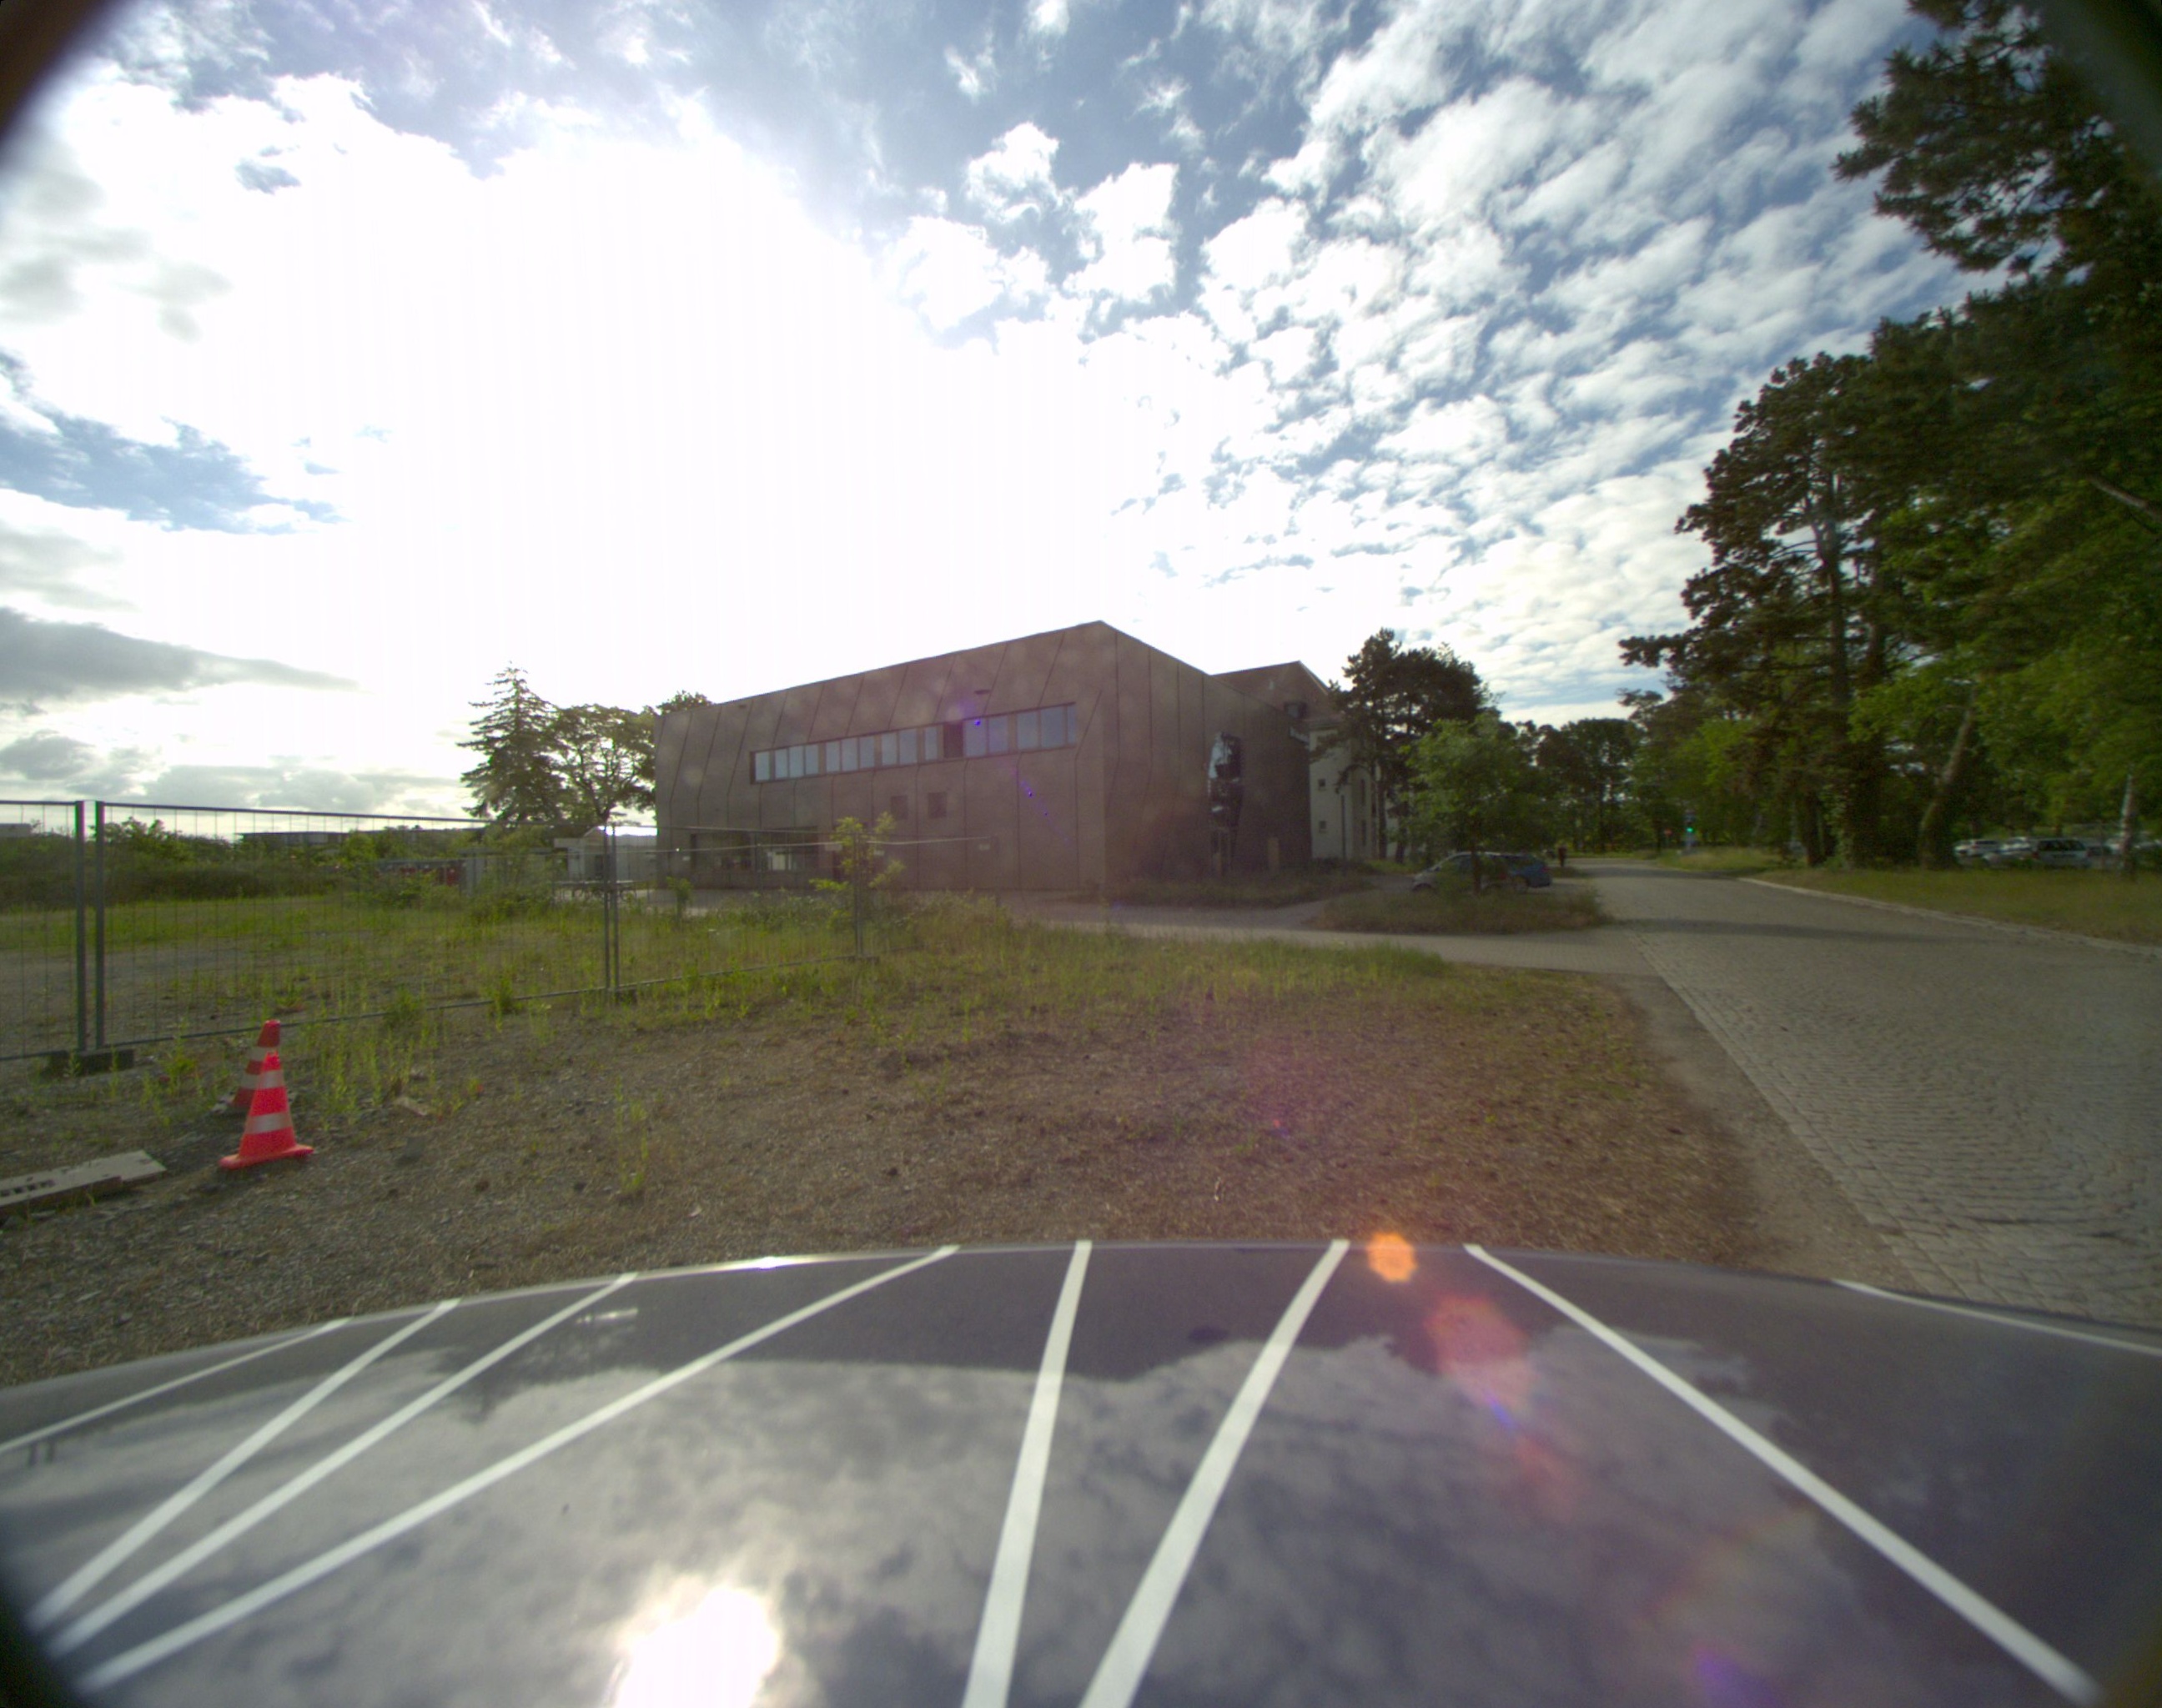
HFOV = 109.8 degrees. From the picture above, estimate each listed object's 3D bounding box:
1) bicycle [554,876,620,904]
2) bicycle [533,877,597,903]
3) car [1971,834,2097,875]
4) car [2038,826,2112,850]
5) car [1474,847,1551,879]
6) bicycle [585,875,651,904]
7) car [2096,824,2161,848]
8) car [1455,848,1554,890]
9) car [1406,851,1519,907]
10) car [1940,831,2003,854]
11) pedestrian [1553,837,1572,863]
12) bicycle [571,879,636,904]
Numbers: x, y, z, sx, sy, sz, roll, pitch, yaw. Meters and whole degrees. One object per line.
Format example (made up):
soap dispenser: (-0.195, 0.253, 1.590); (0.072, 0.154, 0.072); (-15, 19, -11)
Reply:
bicycle: (-20.724, 1.483, 31.932); (0.943, 1.038, 2.073); (-1, 0, 30)
bicycle: (-22.475, 1.559, 33.148); (0.943, 1.038, 2.073); (-1, 0, 30)
car: (38.511, 0.022, 30.847); (1.887, 1.532, 4.007); (-1, 0, 31)
car: (71.641, -1.164, 54.852); (1.995, 1.608, 4.008); (-2, 0, 33)
car: (20.529, 0.450, 36.269); (3.086, 1.441, 1.494); (-1, 0, 26)
bicycle: (-18.756, 1.425, 30.829); (0.943, 1.080, 2.073); (-1, 0, 30)
car: (74.278, -1.244, 53.530); (1.995, 1.608, 4.008); (-2, 0, 33)
car: (15.682, 0.520, 28.251); (3.085, 1.449, 1.494); (1, 1, 28)
car: (11.220, 0.721, 22.394); (2.761, 1.540, 1.428); (-1, 0, 36)
car: (66.944, -0.862, 57.209); (1.995, 1.608, 4.008); (-2, 0, 33)
pedestrian: (35.515, -0.297, 56.006); (0.957, 1.833, 0.957); (-1, 0, 18)
bicycle: (-19.786, 1.527, 31.538); (0.943, 0.916, 2.073); (-1, 0, 30)
